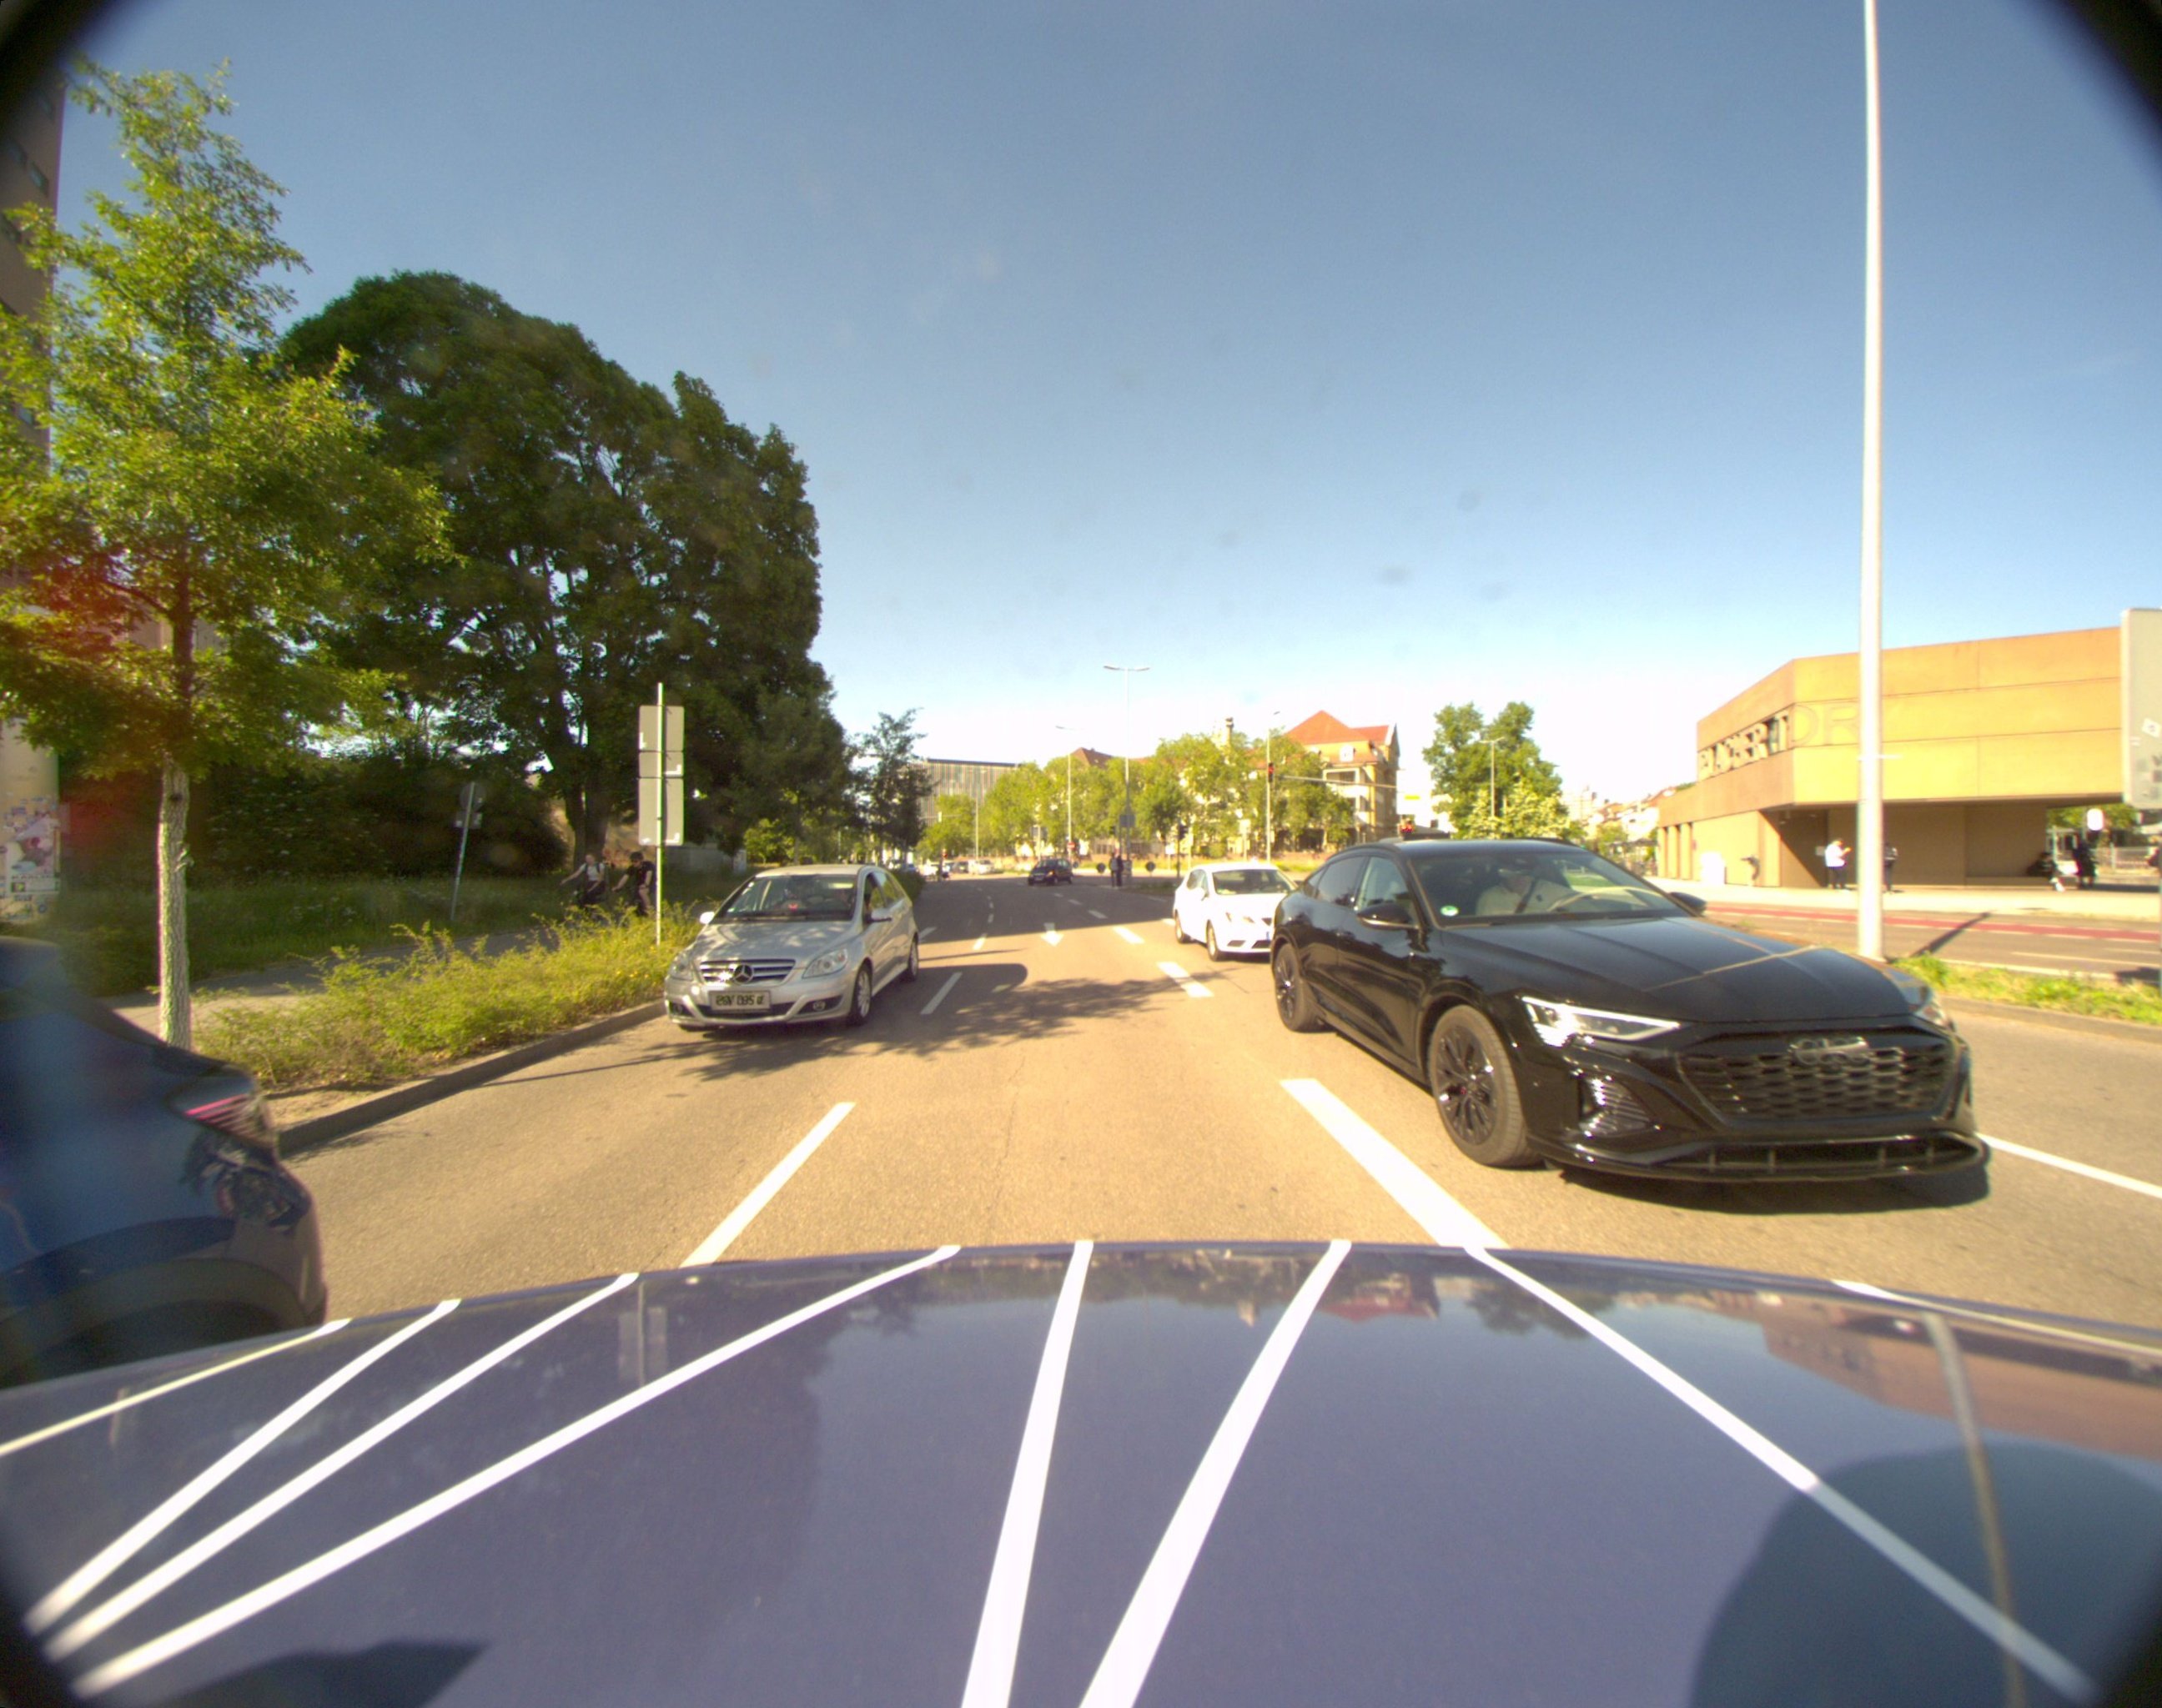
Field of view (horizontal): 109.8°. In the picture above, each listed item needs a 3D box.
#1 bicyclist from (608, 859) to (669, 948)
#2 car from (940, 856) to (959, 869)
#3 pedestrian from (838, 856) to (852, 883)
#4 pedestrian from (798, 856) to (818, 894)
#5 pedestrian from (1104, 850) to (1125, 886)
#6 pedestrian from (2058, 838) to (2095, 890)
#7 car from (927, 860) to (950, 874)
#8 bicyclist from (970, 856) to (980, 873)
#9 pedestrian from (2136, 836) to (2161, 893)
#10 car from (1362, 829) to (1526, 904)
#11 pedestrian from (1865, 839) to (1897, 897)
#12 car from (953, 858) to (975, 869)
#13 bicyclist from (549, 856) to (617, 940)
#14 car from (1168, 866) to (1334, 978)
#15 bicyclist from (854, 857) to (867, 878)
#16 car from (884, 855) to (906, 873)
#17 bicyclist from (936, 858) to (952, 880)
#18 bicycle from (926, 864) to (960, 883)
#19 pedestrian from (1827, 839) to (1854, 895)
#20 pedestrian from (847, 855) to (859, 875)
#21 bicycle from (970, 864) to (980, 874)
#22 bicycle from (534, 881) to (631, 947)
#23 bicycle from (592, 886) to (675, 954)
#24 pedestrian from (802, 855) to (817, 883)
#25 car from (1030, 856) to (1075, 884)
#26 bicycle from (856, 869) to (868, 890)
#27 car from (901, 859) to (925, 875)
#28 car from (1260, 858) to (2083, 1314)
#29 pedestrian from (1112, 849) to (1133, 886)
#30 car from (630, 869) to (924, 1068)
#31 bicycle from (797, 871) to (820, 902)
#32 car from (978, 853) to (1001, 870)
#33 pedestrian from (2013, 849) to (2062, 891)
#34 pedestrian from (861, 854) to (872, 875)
[{"bbox_3d":[-8.379,0.911,14.423,0.627,1.628,0.994,0,0,-6],"label":"bicyclist"},{"bbox_3d":[-16.246,1.066,93.855,1.598,1.596,3.066,-1,0,-24],"label":"car"},{"bbox_3d":[-14.049,0.934,45.178,0.694,1.594,0.660,-1,0,-27],"label":"pedestrian"},{"bbox_3d":[-10.191,0.780,28.383,0.518,1.394,0.960,1,1,-10],"label":"pedestrian"},{"bbox_3d":[1.724,0.705,39.203,0.887,1.814,0.776,-2,1,-6],"label":"pedestrian"},{"bbox_3d":[33.789,0.335,25.796,0.645,1.766,0.468,-1,0,-3],"label":"pedestrian"},{"bbox_3d":[-14.880,1.302,79.157,1.754,1.370,3.568,-1,0,-20],"label":"car"},{"bbox_3d":[-10.453,1.033,74.726,0.696,1.549,0.814,-3,1,-22],"label":"bicyclist"},{"bbox_3d":[33.665,0.311,23.776,0.645,1.766,0.468,-1,0,-3],"label":"pedestrian"},{"bbox_3d":[12.597,0.396,27.014,2.117,2.300,6.209,-1,0,-8],"label":"car"},{"bbox_3d":[24.780,0.426,23.538,0.644,1.766,0.618,0,1,44],"label":"pedestrian"},{"bbox_3d":[-13.468,1.072,87.605,1.587,1.197,3.992,-2,1,-22],"label":"car"},{"bbox_3d":[-9.778,0.846,14.950,0.687,1.589,0.977,1,0,-1],"label":"bicyclist"},{"bbox_3d":[2.551,0.959,12.293,1.575,1.410,3.712,-2,0,-4],"label":"car"},{"bbox_3d":[-13.884,0.851,47.775,0.723,1.271,0.906,1,0,-15],"label":"bicyclist"},{"bbox_3d":[-20.012,1.053,81.725,1.830,1.842,3.746,-1,0,-20],"label":"car"},{"bbox_3d":[-9.409,1.037,52.241,0.848,1.465,0.764,-1,0,-27],"label":"bicyclist"},{"bbox_3d":[-9.468,1.319,52.206,2.128,1.168,0.764,-2,1,-27],"label":"bicycle"},{"bbox_3d":[24.522,0.407,24.546,0.467,1.766,0.647,-1,0,30],"label":"pedestrian"},{"bbox_3d":[-21.392,1.034,71.311,0.823,1.906,0.770,-3,1,-28],"label":"pedestrian"},{"bbox_3d":[-10.447,1.482,74.773,0.591,0.884,1.652,-2,0,-22],"label":"bicycle"},{"bbox_3d":[-9.785,1.152,15.006,0.687,1.157,1.883,1,0,-1],"label":"bicycle"},{"bbox_3d":[-8.362,1.197,14.274,0.627,1.107,1.850,0,0,-6],"label":"bicycle"},{"bbox_3d":[-15.499,0.855,43.309,0.694,1.594,0.660,-1,0,-27],"label":"pedestrian"},{"bbox_3d":[-1.654,0.922,45.424,1.648,1.601,3.494,0,0,17],"label":"car"},{"bbox_3d":[-13.778,1.598,47.876,0.692,1.211,1.832,1,0,-15],"label":"bicycle"},{"bbox_3d":[-16.726,1.265,75.669,1.754,1.467,3.568,-2,1,-21],"label":"car"},{"bbox_3d":[2.677,0.844,4.974,1.858,1.606,4.452,-1,0,-1],"label":"car"},{"bbox_3d":[2.084,0.682,37.986,0.757,1.814,0.775,-2,1,-16],"label":"pedestrian"},{"bbox_3d":[-3.038,1.026,8.598,1.786,1.615,4.042,-1,0,-2],"label":"car"},{"bbox_3d":[-10.181,1.196,28.414,0.518,1.038,1.766,1,0,-10],"label":"bicycle"},{"bbox_3d":[-9.564,0.826,79.326,1.527,1.669,3.374,-2,0,-23],"label":"car"},{"bbox_3d":[30.556,0.503,24.281,0.644,1.303,0.763,-1,0,11],"label":"pedestrian"},{"bbox_3d":[-20.258,0.988,71.696,0.823,1.906,0.770,-3,1,-28],"label":"pedestrian"}]
